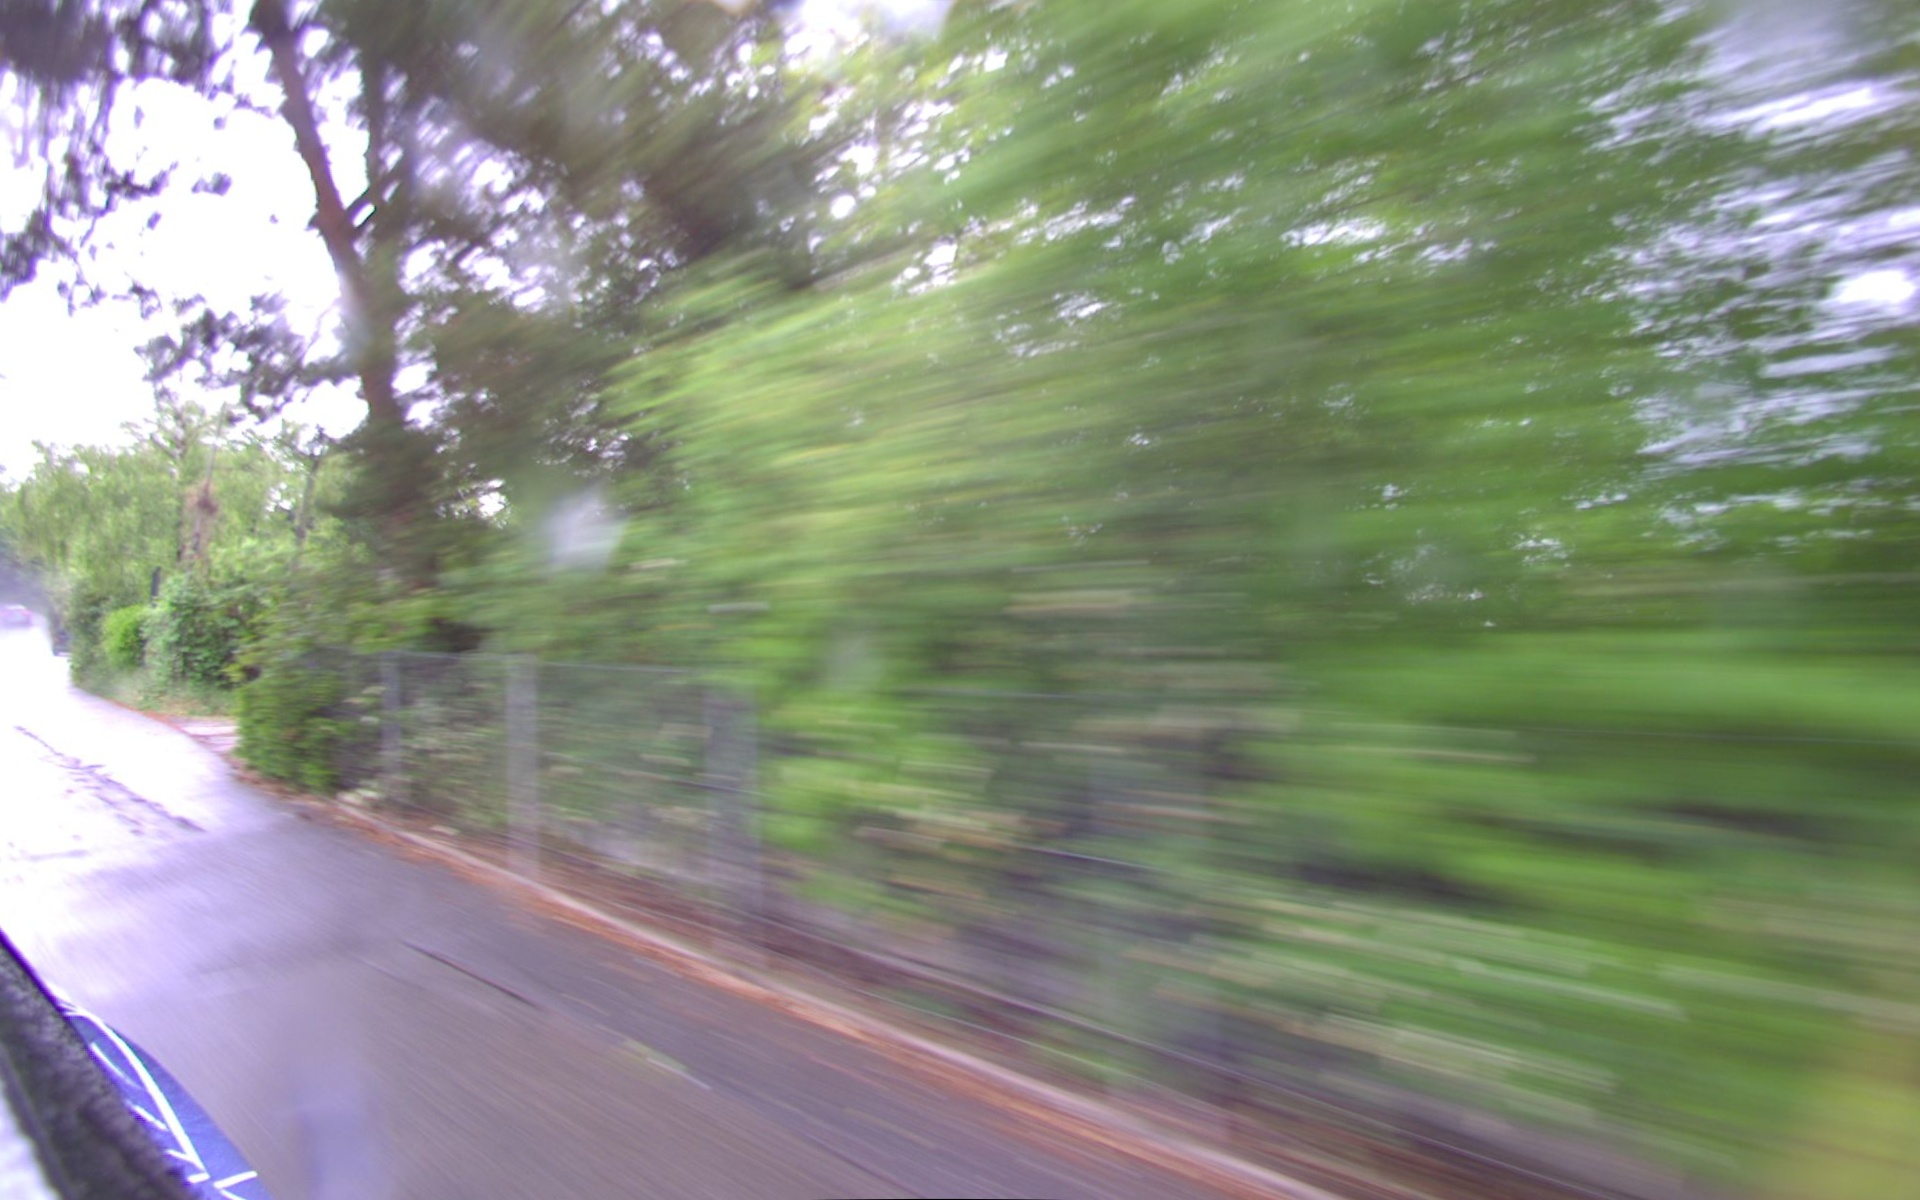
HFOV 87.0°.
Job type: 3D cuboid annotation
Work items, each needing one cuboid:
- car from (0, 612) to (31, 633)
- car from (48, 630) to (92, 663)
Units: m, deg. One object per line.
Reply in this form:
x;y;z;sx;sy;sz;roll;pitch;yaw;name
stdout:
-79.251;1.919;84.733;4.464;1.633;1.901;-3;-2;45;car
-49.669;2.597;56.459;1.665;1.740;4.072;5;-5;-43;car
